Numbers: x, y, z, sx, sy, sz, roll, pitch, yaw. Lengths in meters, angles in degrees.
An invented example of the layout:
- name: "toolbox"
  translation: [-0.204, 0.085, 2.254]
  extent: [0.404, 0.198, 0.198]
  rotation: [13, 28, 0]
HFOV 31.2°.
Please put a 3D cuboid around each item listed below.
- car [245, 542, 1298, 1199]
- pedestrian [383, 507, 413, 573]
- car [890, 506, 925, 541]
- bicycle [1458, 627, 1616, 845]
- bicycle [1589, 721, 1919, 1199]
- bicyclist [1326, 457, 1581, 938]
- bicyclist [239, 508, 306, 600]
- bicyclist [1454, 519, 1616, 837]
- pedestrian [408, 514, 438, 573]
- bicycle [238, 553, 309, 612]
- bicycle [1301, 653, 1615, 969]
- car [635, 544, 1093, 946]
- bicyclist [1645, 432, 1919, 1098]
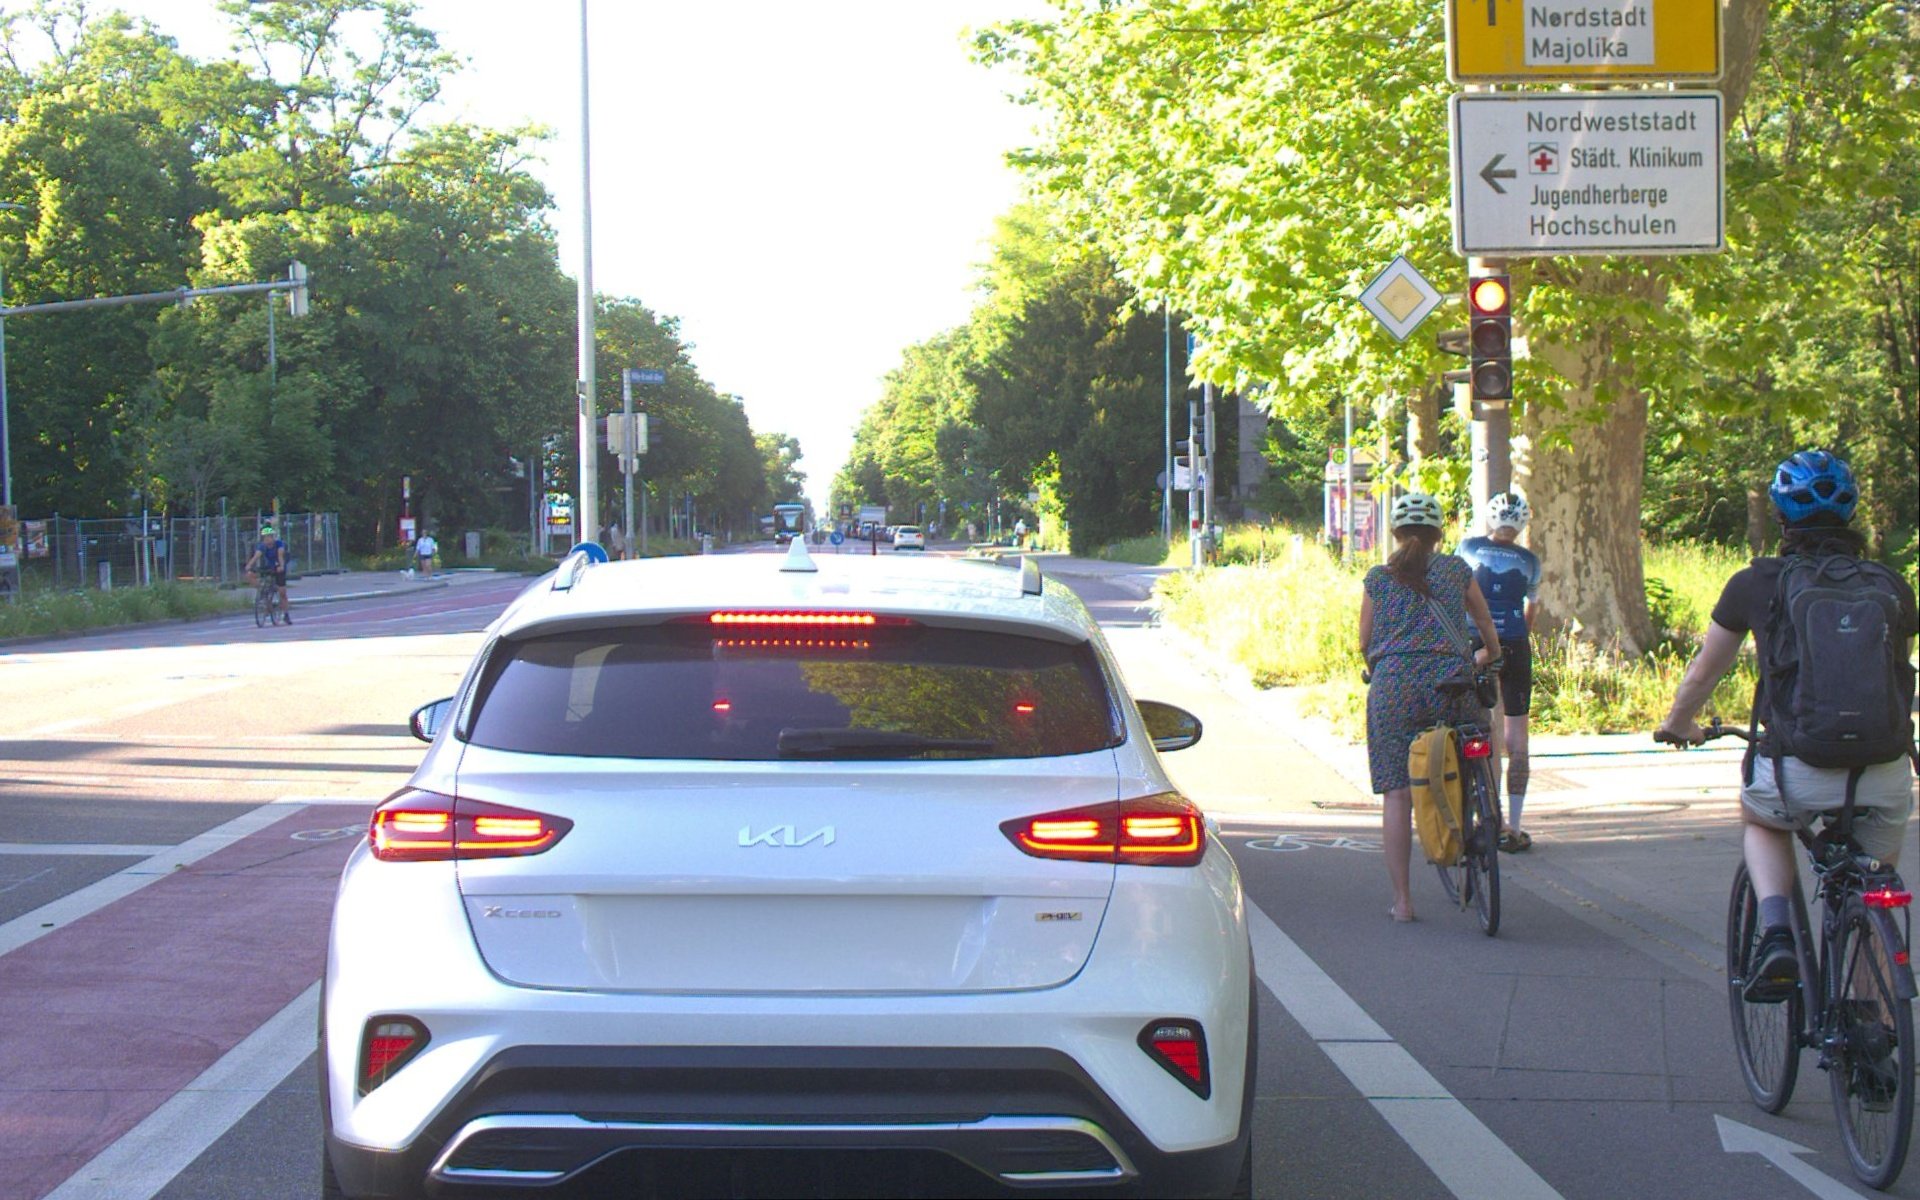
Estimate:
- name: "car"
  translation: [-0.389, 0.623, 7.939]
  extent: [1.821, 1.475, 3.937]
  rotation: [0, 1, -2]
- name: "pedestrian"
  translation: [-17.149, -1.824, 104.925]
  extent: [0.641, 2.007, 0.753]
  rotation: [0, 1, 13]
- name: "car"
  translation: [-3.126, -4.539, 204.862]
  extent: [1.993, 2.007, 4.000]
  rotation: [-2, 1, -1]
- name: "bicycle"
  translation: [2.791, 0.639, 16.741]
  extent: [0.401, 0.953, 1.551]
  rotation: [-4, 1, -2]
- name: "bicycle"
  translation: [2.139, 0.869, 8.593]
  extent: [0.668, 1.006, 2.081]
  rotation: [1, 1, -2]
- name: "bicyclist"
  translation: [1.911, 0.354, 13.465]
  extent: [0.753, 1.789, 1.165]
  rotation: [1, 1, -2]
- name: "bicyclist"
  translation: [-12.165, -0.822, 60.833]
  extent: [0.875, 1.603, 1.188]
  rotation: [-1, 1, 1]
- name: "bicyclist"
  translation: [2.772, 0.363, 16.616]
  extent: [0.554, 1.473, 0.717]
  rotation: [-4, 1, -2]
- name: "pedestrian"
  translation: [-16.291, -1.723, 104.265]
  extent: [0.785, 1.779, 0.751]
  rotation: [0, 1, 0]
- name: "bicycle"
  translation: [-12.147, -0.324, 60.899]
  extent: [0.663, 0.985, 2.504]
  rotation: [-1, 1, 2]
- name: "bicycle"
  translation: [1.903, 0.774, 13.535]
  extent: [0.758, 1.009, 2.570]
  rotation: [1, 1, -2]
- name: "car"
  translation: [-0.436, 0.529, 14.997]
  extent: [1.728, 1.478, 3.517]
  rotation: [-1, 1, -2]
- name: "bicyclist"
  translation: [2.145, 0.389, 8.616]
  extent: [0.665, 1.596, 0.721]
  rotation: [1, 1, -2]
